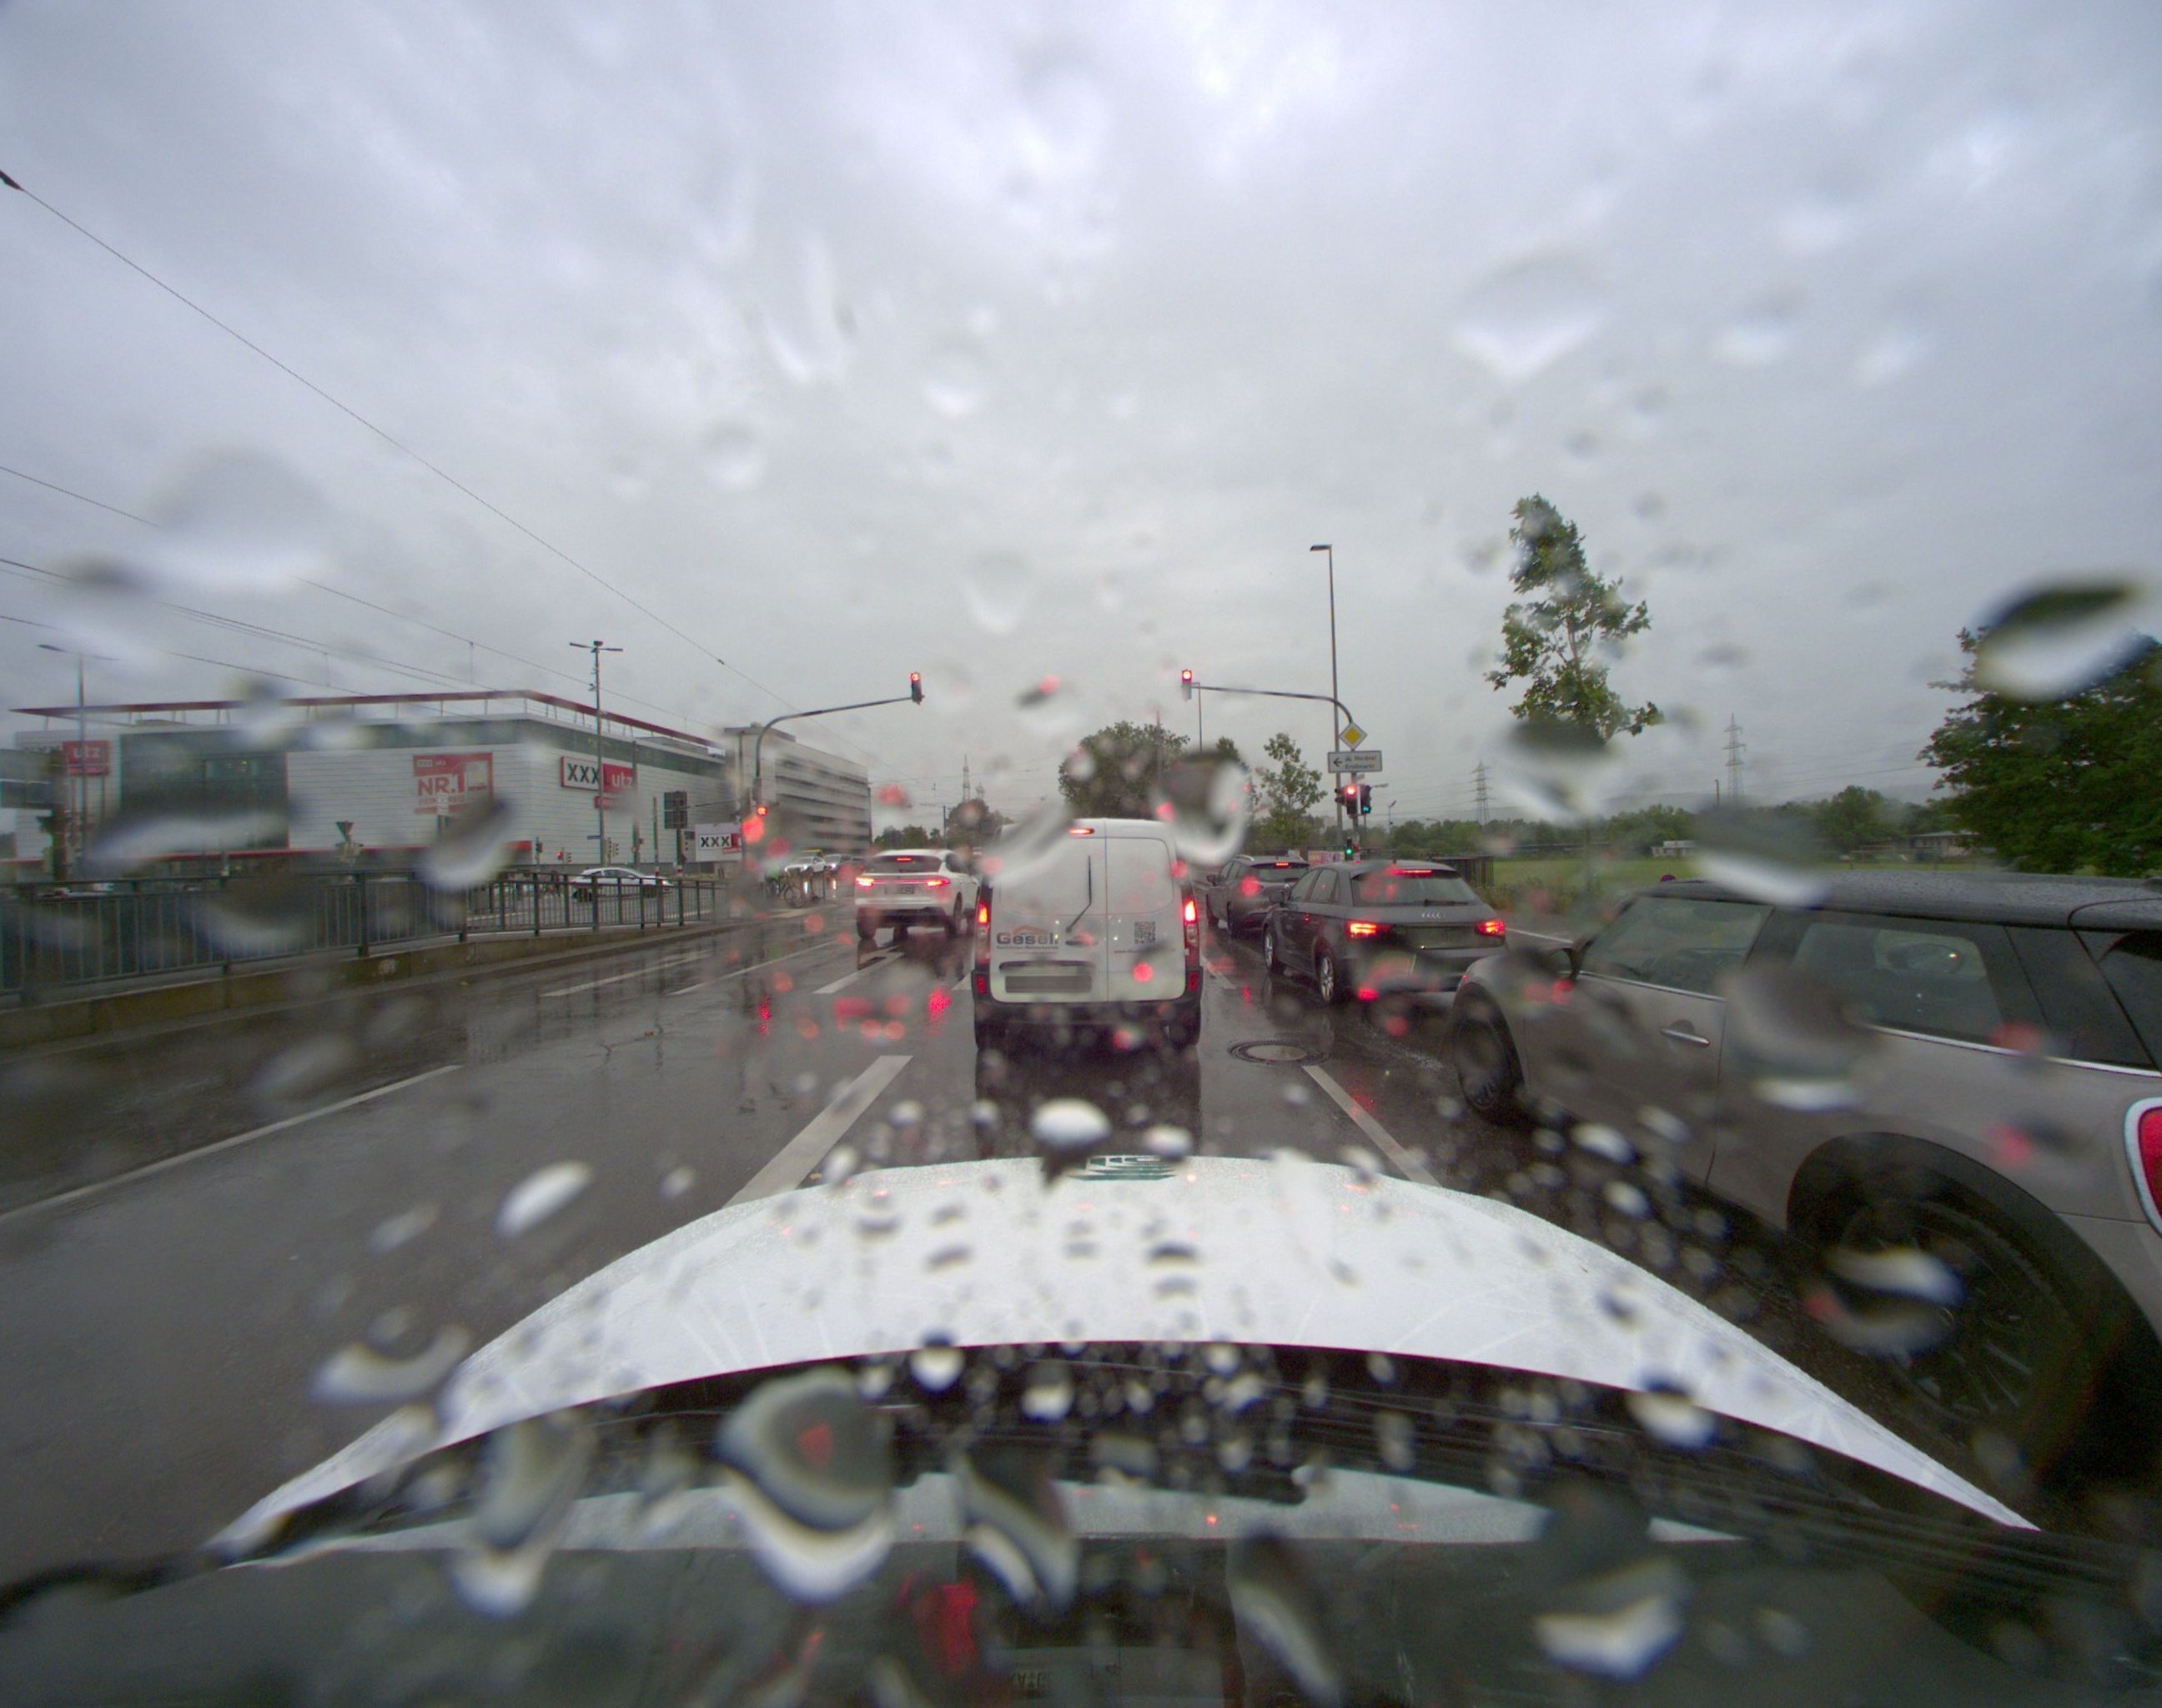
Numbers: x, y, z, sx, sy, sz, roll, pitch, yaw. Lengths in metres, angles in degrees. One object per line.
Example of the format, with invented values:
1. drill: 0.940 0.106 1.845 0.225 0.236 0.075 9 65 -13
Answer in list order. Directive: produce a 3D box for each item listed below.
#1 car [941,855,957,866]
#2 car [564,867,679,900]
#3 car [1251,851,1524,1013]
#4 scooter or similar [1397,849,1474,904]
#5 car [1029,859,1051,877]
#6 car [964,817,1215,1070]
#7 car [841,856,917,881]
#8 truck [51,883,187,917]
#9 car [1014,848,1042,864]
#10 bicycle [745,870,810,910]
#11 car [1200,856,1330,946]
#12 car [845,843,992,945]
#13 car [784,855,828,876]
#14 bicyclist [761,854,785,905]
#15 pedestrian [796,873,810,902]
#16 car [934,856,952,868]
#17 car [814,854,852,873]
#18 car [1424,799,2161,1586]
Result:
1. car: -18.097 0.911 111.793 1.554 1.426 3.570 1 -1 2
2. car: -19.783 1.292 35.265 4.063 1.376 1.596 1 -1 -20
3. car: 3.087 0.726 9.000 1.592 1.366 3.629 -2 -1 0
4. scooter or similar: 8.523 0.503 19.747 0.687 1.211 3.022 -2 0 3
5. car: -3.667 1.292 73.805 1.628 1.522 3.777 2 0 2
6. car: 0.011 0.599 7.803 1.749 1.750 4.166 -1 1 -2
7. car: -10.325 0.751 41.742 1.422 1.207 3.557 0 -2 44
8. truck: -59.229 2.809 50.199 5.859 1.942 2.012 1 -1 0
9. car: -3.774 0.143 58.463 1.484 1.085 3.541 1 -1 5
10. bicycle: -8.911 1.035 23.936 1.758 1.137 0.517 0 -1 -18
11. car: 3.370 0.794 15.594 1.678 1.508 3.921 0 0 1
12. car: -3.108 0.712 16.614 1.923 1.775 4.665 0 0 2
13. car: -19.433 0.819 57.790 1.704 1.426 3.810 1 -1 2
14. bicyclist: -9.048 0.742 23.924 0.604 1.491 0.597 0 -1 -16
15. pedestrian: -8.827 1.050 25.854 0.314 0.897 0.380 1 0 -1
16. car: -17.620 1.030 104.002 1.554 1.426 3.570 1 -1 2
17. car: -19.337 0.782 63.699 1.704 1.426 3.810 1 -1 2
18. car: 2.991 0.710 3.263 1.696 1.508 3.880 1 -1 2
